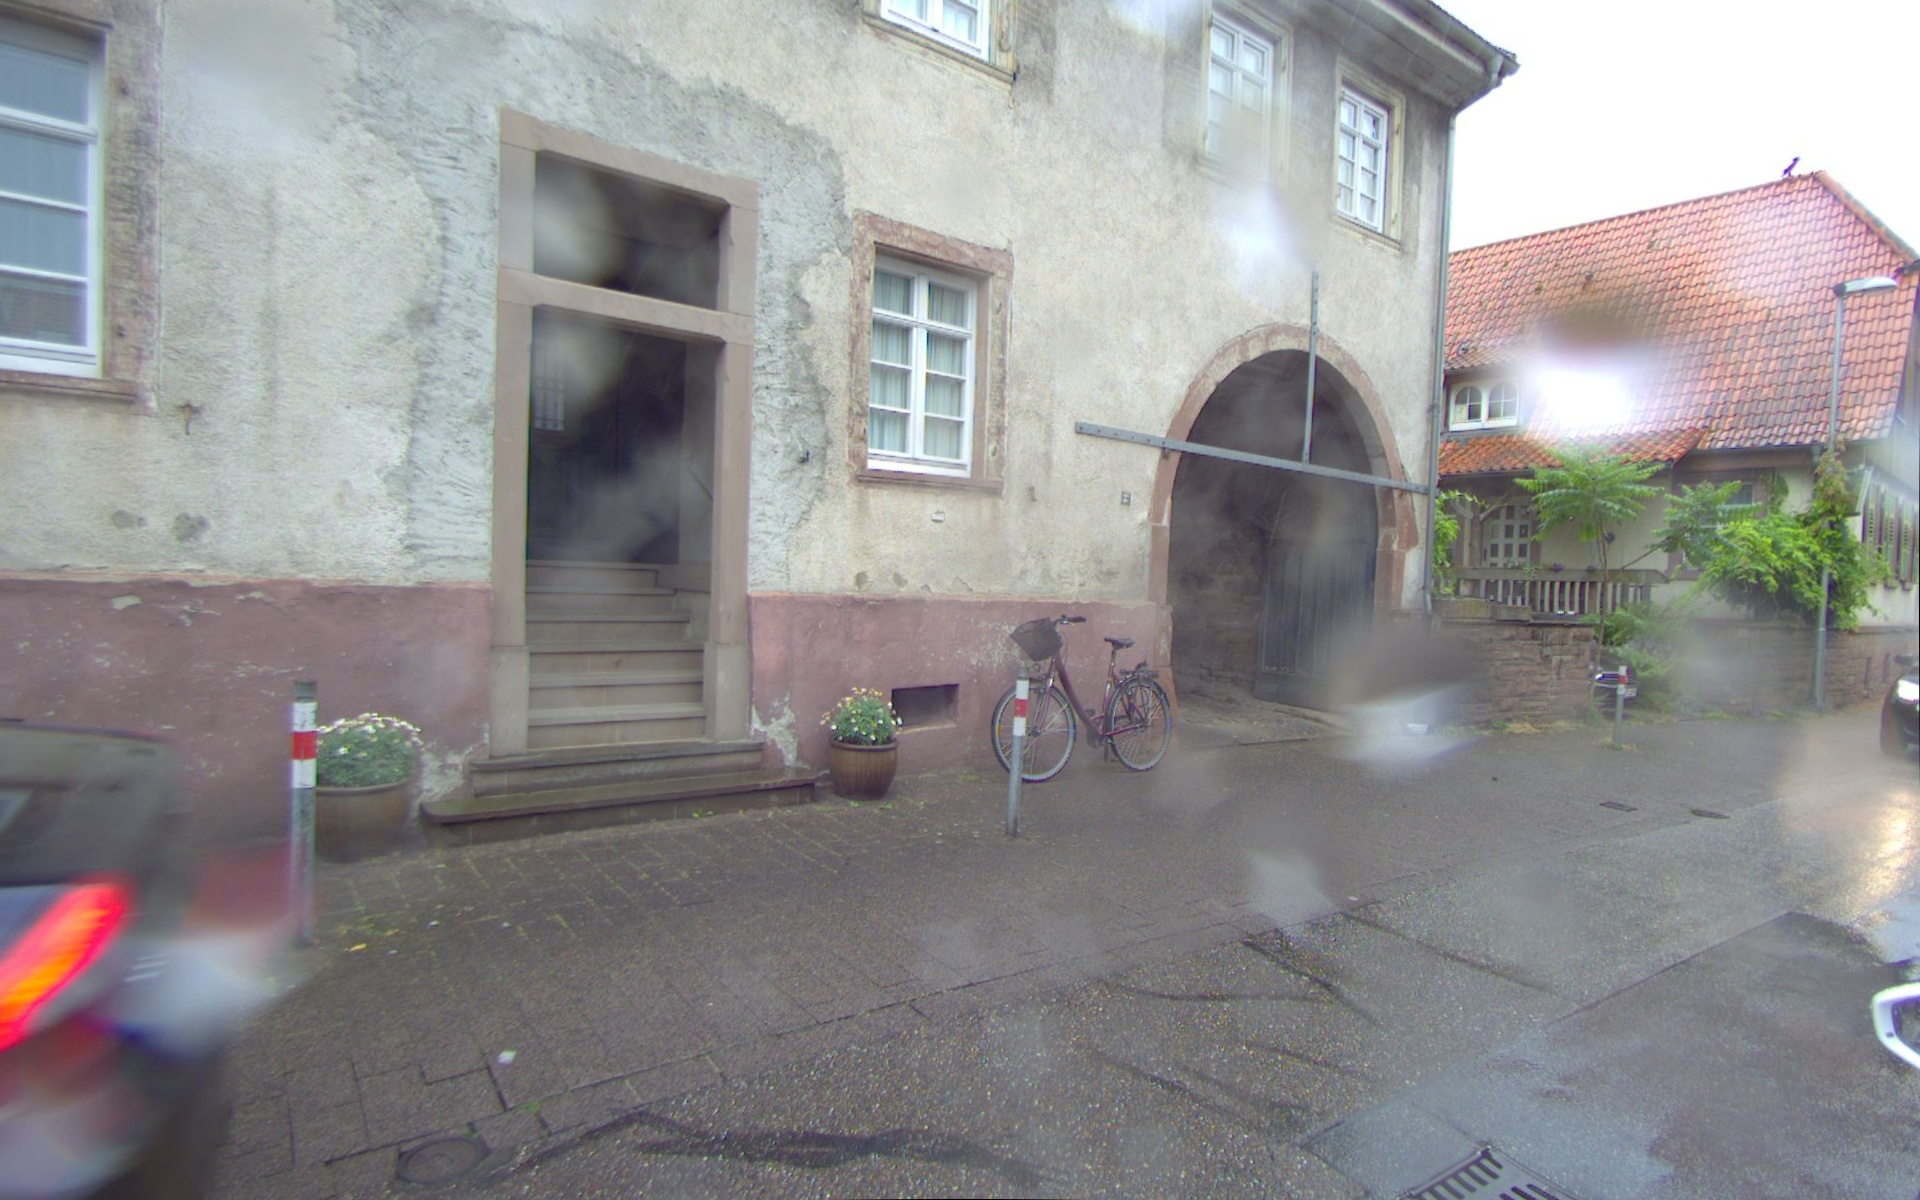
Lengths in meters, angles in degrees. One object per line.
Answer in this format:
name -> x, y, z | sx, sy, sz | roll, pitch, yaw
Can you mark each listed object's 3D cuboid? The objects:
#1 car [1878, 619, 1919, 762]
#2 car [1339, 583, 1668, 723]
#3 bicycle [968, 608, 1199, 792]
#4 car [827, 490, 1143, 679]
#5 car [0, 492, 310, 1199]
car -> 12.153, 1.054, 11.621 | 3.654, 1.533, 1.592 | 2, 1, -37
car -> 7.984, 0.696, 15.158 | 1.715, 1.444, 3.967 | 2, 5, -30
bicycle -> 0.955, 0.683, 7.449 | 1.858, 1.194, 0.478 | 1, 4, -38
car -> 0.155, -0.311, 13.523 | 1.869, 1.957, 4.194 | 6, 3, -37
car -> -3.051, 0.566, 0.642 | 4.302, 1.529, 1.683 | 2, 1, -37
